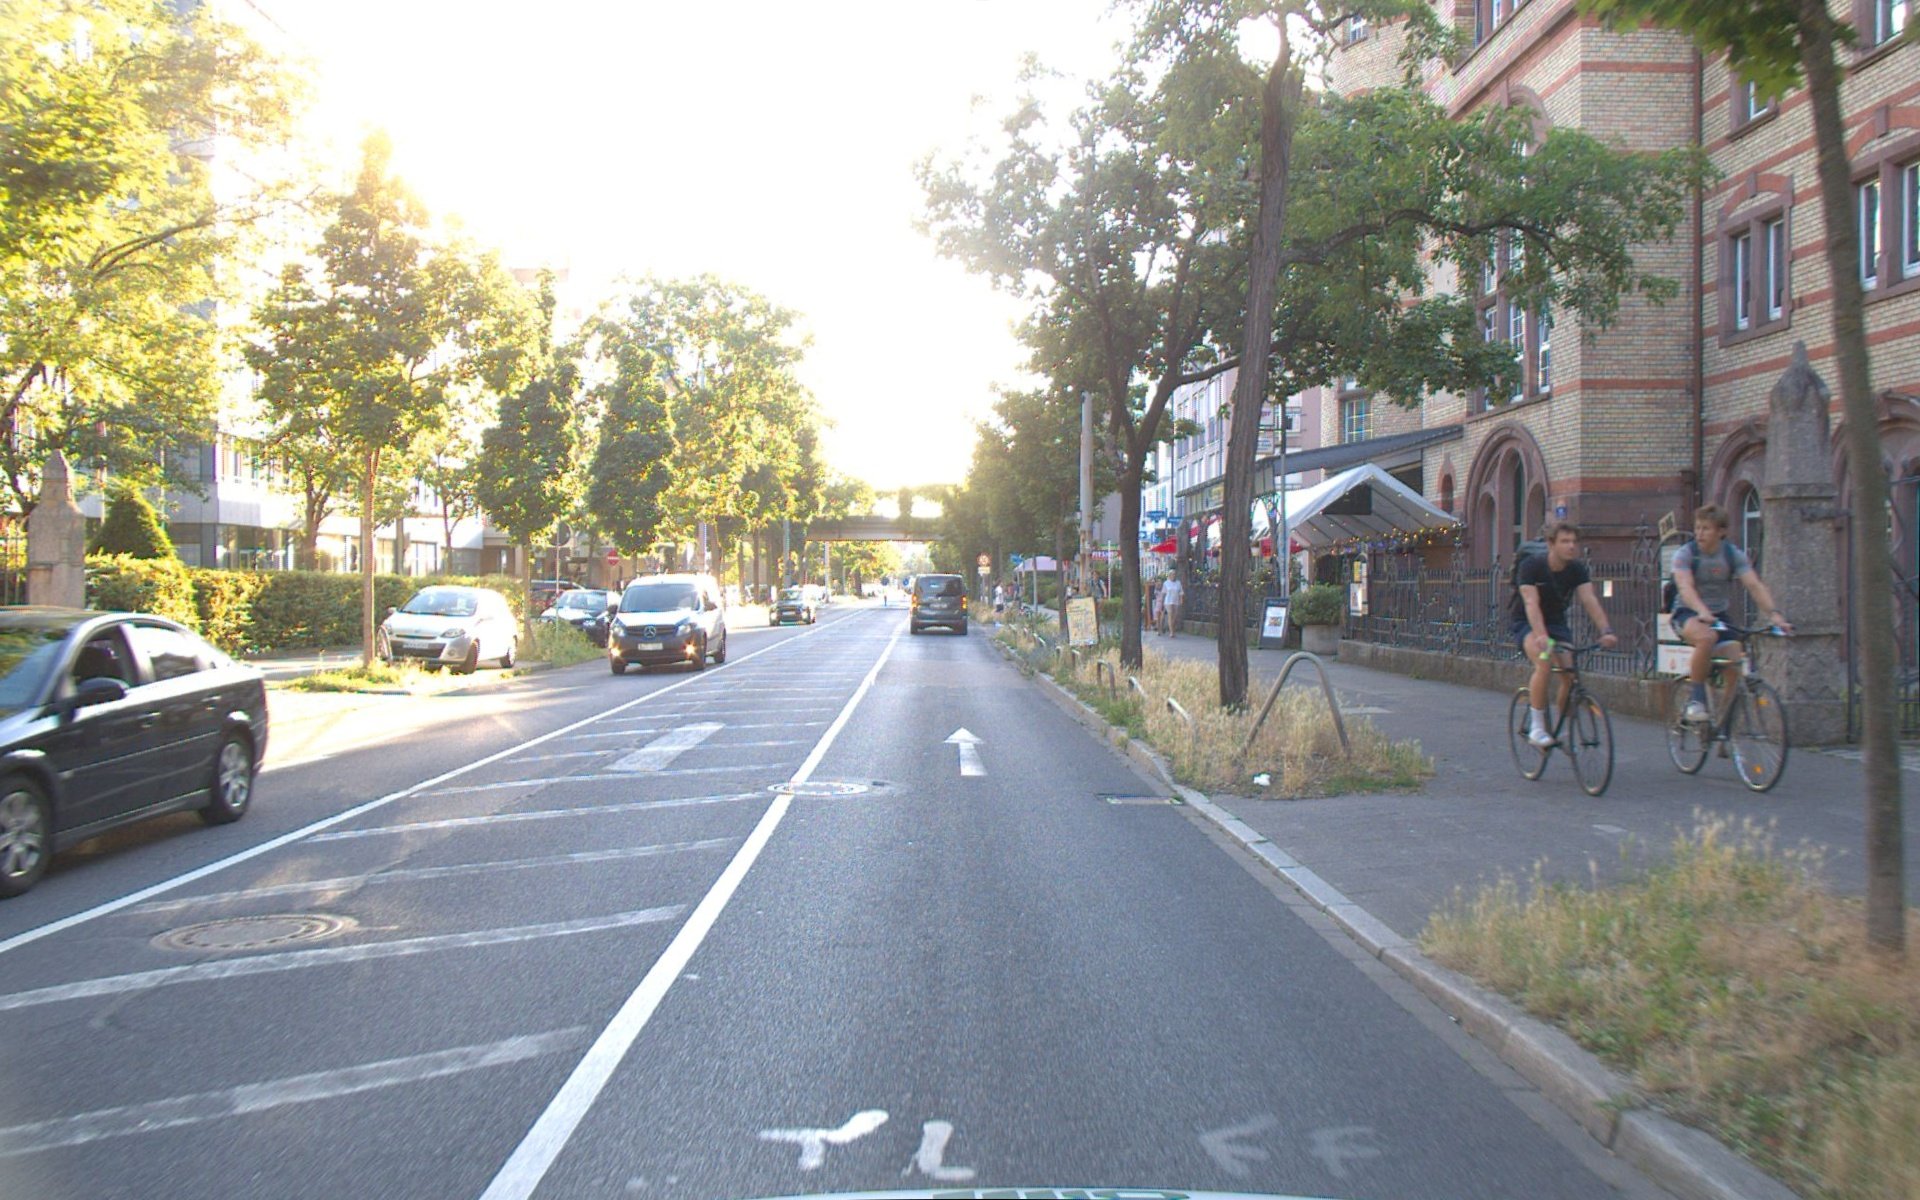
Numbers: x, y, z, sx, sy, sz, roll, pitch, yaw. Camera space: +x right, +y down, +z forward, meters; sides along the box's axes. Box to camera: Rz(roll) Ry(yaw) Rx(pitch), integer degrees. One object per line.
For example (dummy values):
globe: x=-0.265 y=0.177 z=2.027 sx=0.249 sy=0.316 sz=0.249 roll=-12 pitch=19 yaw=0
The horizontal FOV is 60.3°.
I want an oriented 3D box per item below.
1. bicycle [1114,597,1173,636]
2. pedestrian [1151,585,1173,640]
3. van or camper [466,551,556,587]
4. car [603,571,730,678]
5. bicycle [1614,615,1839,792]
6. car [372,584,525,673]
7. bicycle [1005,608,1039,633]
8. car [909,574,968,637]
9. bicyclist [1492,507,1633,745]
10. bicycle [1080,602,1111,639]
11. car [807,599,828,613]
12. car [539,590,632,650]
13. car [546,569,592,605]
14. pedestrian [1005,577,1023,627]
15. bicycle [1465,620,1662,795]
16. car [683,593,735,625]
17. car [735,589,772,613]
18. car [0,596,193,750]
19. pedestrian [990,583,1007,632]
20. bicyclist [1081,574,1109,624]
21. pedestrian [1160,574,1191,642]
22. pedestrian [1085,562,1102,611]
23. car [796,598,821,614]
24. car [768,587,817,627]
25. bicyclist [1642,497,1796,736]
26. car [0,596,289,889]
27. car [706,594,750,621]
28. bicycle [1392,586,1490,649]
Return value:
bicycle: x=6.363 y=0.570 z=57.307 sx=1.943 sy=1.248 sz=0.547 roll=2 pitch=0 yaw=-8
pedestrian: x=5.227 y=0.321 z=42.788 sx=0.457 sy=1.374 sz=0.530 roll=2 pitch=0 yaw=-1
van or camper: x=-35.591 y=-2.439 z=131.333 sx=6.432 sy=2.566 sz=2.448 roll=2 pitch=0 yaw=-3
car: x=-5.597 y=0.428 z=32.023 sx=1.796 sy=1.885 sz=4.472 roll=-1 pitch=0 yaw=-2
bicycle: x=5.194 y=0.656 z=11.362 sx=0.507 sy=1.058 sz=2.088 roll=2 pitch=0 yaw=-1
car: x=-9.345 y=0.483 z=30.522 sx=1.663 sy=1.477 sz=3.998 roll=2 pitch=0 yaw=-2
bicycle: x=2.446 y=0.817 z=65.465 sx=0.580 sy=0.913 sz=1.975 roll=2 pitch=0 yaw=-20
car: x=-0.696 y=0.153 z=54.084 sx=1.849 sy=1.958 sz=3.839 roll=0 pitch=0 yaw=0
bicyclist: x=4.150 y=0.172 z=11.443 sx=0.583 sy=1.559 sz=0.893 roll=2 pitch=0 yaw=-1
bicycle: x=3.491 y=0.522 z=42.758 sx=0.567 sy=0.913 sz=1.987 roll=2 pitch=0 yaw=-1
car: x=-14.992 y=0.635 z=174.227 sx=1.953 sy=1.439 sz=4.236 roll=2 pitch=0 yaw=-1
car: x=-9.657 y=0.488 z=42.898 sx=1.605 sy=1.410 sz=3.998 roll=2 pitch=0 yaw=-2
car: x=-26.841 y=-0.896 z=113.669 sx=1.953 sy=2.348 sz=5.244 roll=2 pitch=0 yaw=-1
pedestrian: x=2.119 y=0.080 z=64.655 sx=0.496 sy=1.921 sz=0.543 roll=2 pitch=0 yaw=-16
bicycle: x=4.132 y=0.692 z=11.497 sx=0.533 sy=1.058 sz=2.088 roll=2 pitch=0 yaw=-1
car: x=-12.281 y=0.424 z=81.140 sx=1.953 sy=1.439 sz=4.236 roll=2 pitch=0 yaw=-1
car: x=-13.531 y=0.063 z=108.476 sx=1.953 sy=1.439 sz=4.236 roll=2 pitch=0 yaw=-1
car: x=-8.981 y=0.624 z=15.988 sx=1.505 sy=1.270 sz=3.612 roll=2 pitch=0 yaw=-2
pedestrian: x=1.513 y=0.299 z=65.061 sx=0.496 sy=1.921 sz=0.543 roll=2 pitch=0 yaw=-16
bicyclist: x=3.497 y=-0.020 z=42.875 sx=0.573 sy=1.258 sz=1.112 roll=2 pitch=0 yaw=-1
pedestrian: x=5.382 y=0.187 z=41.328 sx=0.631 sy=1.661 sz=0.656 roll=2 pitch=0 yaw=-1
pedestrian: x=7.066 y=-0.707 z=87.588 sx=0.701 sy=2.583 sz=0.824 roll=2 pitch=0 yaw=-1
car: x=-14.271 y=0.536 z=156.013 sx=1.953 sy=1.439 sz=4.236 roll=2 pitch=0 yaw=-1
car: x=-6.823 y=0.261 z=67.777 sx=1.645 sy=1.557 sz=3.999 roll=-2 pitch=0 yaw=-1
bicyclist: x=5.186 y=0.106 z=11.347 sx=0.583 sy=1.559 sz=0.893 roll=2 pitch=0 yaw=-1
car: x=-5.561 y=0.705 z=9.480 sx=1.724 sy=1.410 sz=4.303 roll=-1 pitch=0 yaw=-1
car: x=-13.250 y=0.437 z=94.542 sx=1.953 sy=1.439 sz=4.236 roll=2 pitch=0 yaw=-1
bicycle: x=7.818 y=0.275 z=26.917 sx=1.415 sy=0.963 sz=0.534 roll=2 pitch=0 yaw=0
